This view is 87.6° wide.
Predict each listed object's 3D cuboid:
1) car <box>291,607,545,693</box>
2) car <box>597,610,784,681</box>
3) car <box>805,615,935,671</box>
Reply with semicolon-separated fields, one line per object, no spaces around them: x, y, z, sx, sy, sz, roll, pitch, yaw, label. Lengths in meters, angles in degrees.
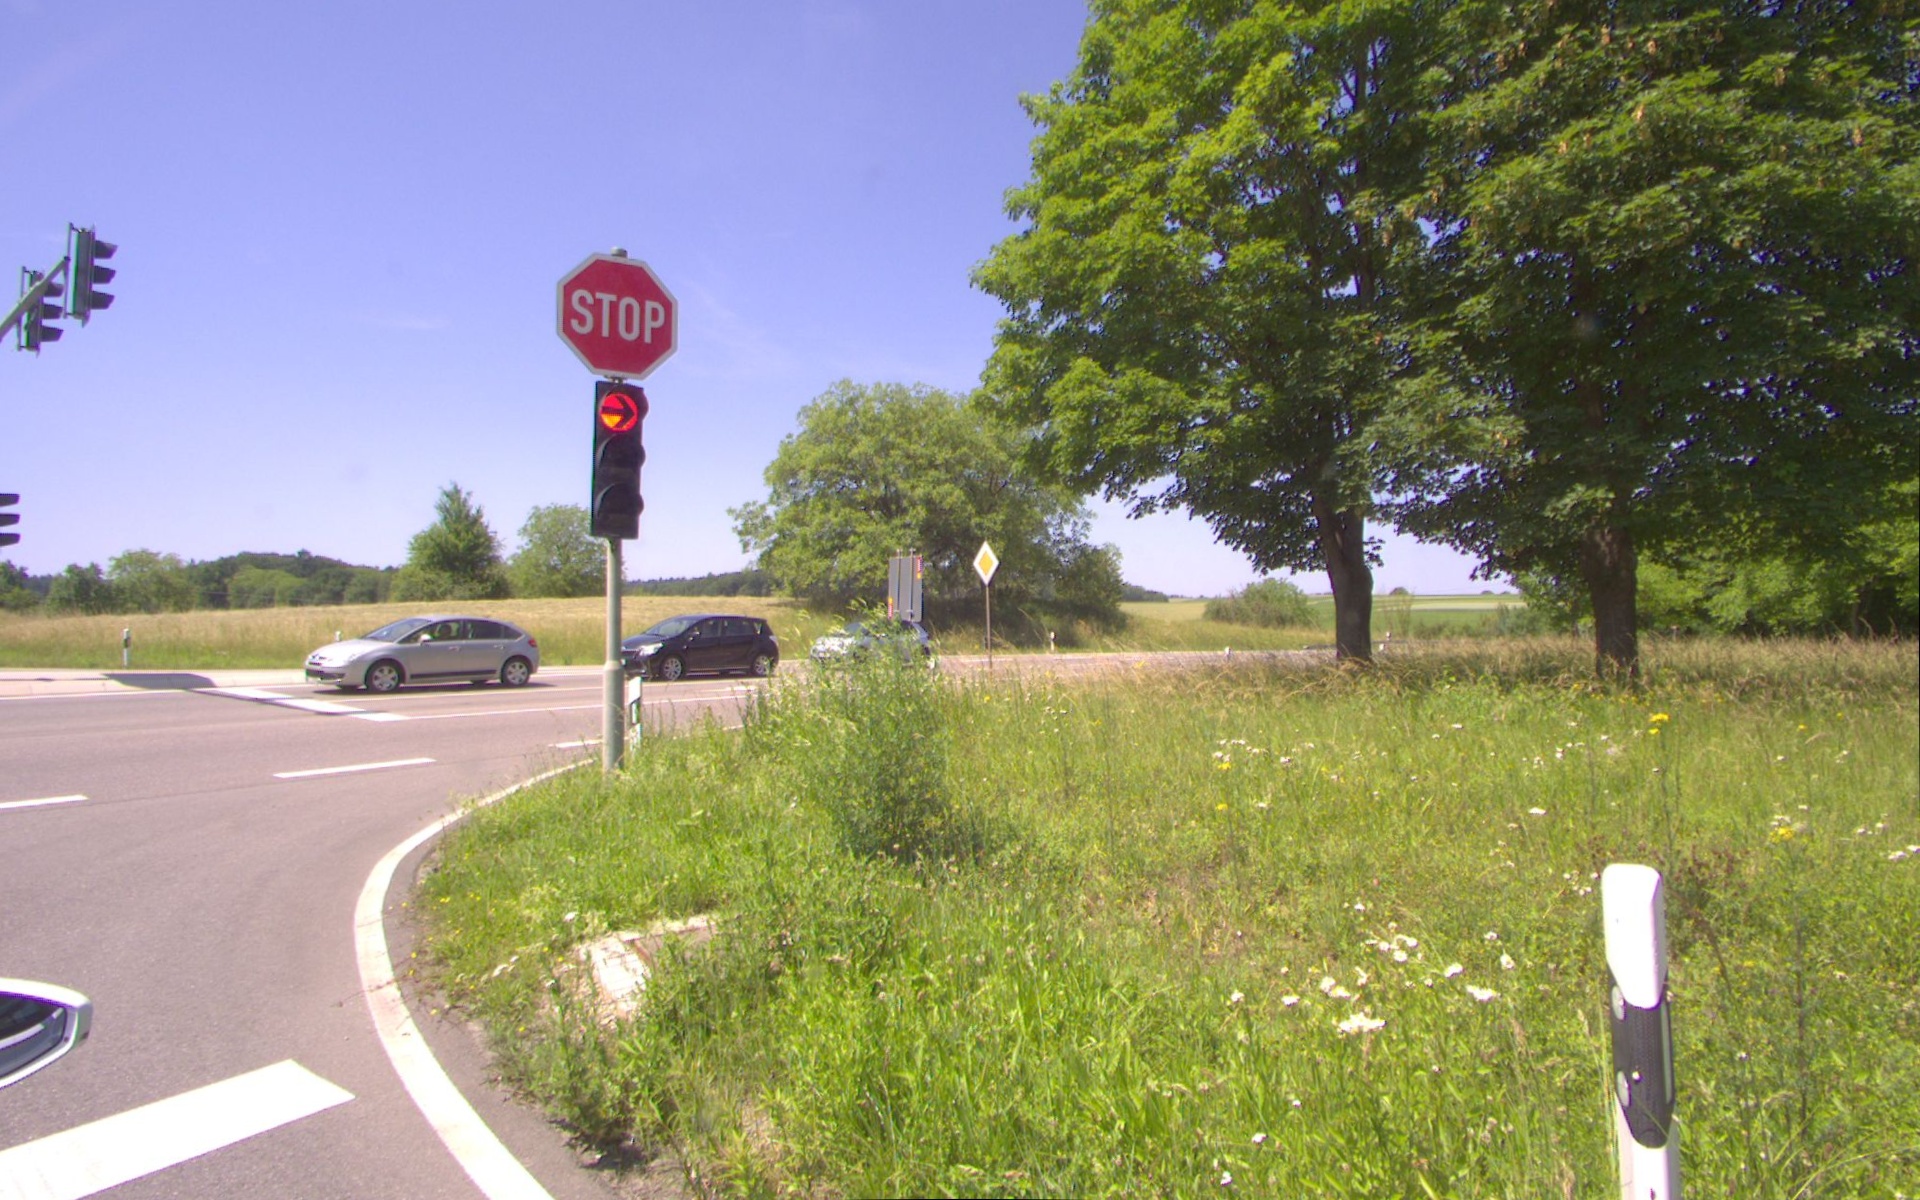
-10.739;0.960;20.105;1.707;1.489;4.143;2;0;37;car
-6.664;1.108;25.146;1.708;1.573;4.350;2;0;40;car
-2.733;1.308;31.108;1.635;1.573;3.991;2;0;40;car
